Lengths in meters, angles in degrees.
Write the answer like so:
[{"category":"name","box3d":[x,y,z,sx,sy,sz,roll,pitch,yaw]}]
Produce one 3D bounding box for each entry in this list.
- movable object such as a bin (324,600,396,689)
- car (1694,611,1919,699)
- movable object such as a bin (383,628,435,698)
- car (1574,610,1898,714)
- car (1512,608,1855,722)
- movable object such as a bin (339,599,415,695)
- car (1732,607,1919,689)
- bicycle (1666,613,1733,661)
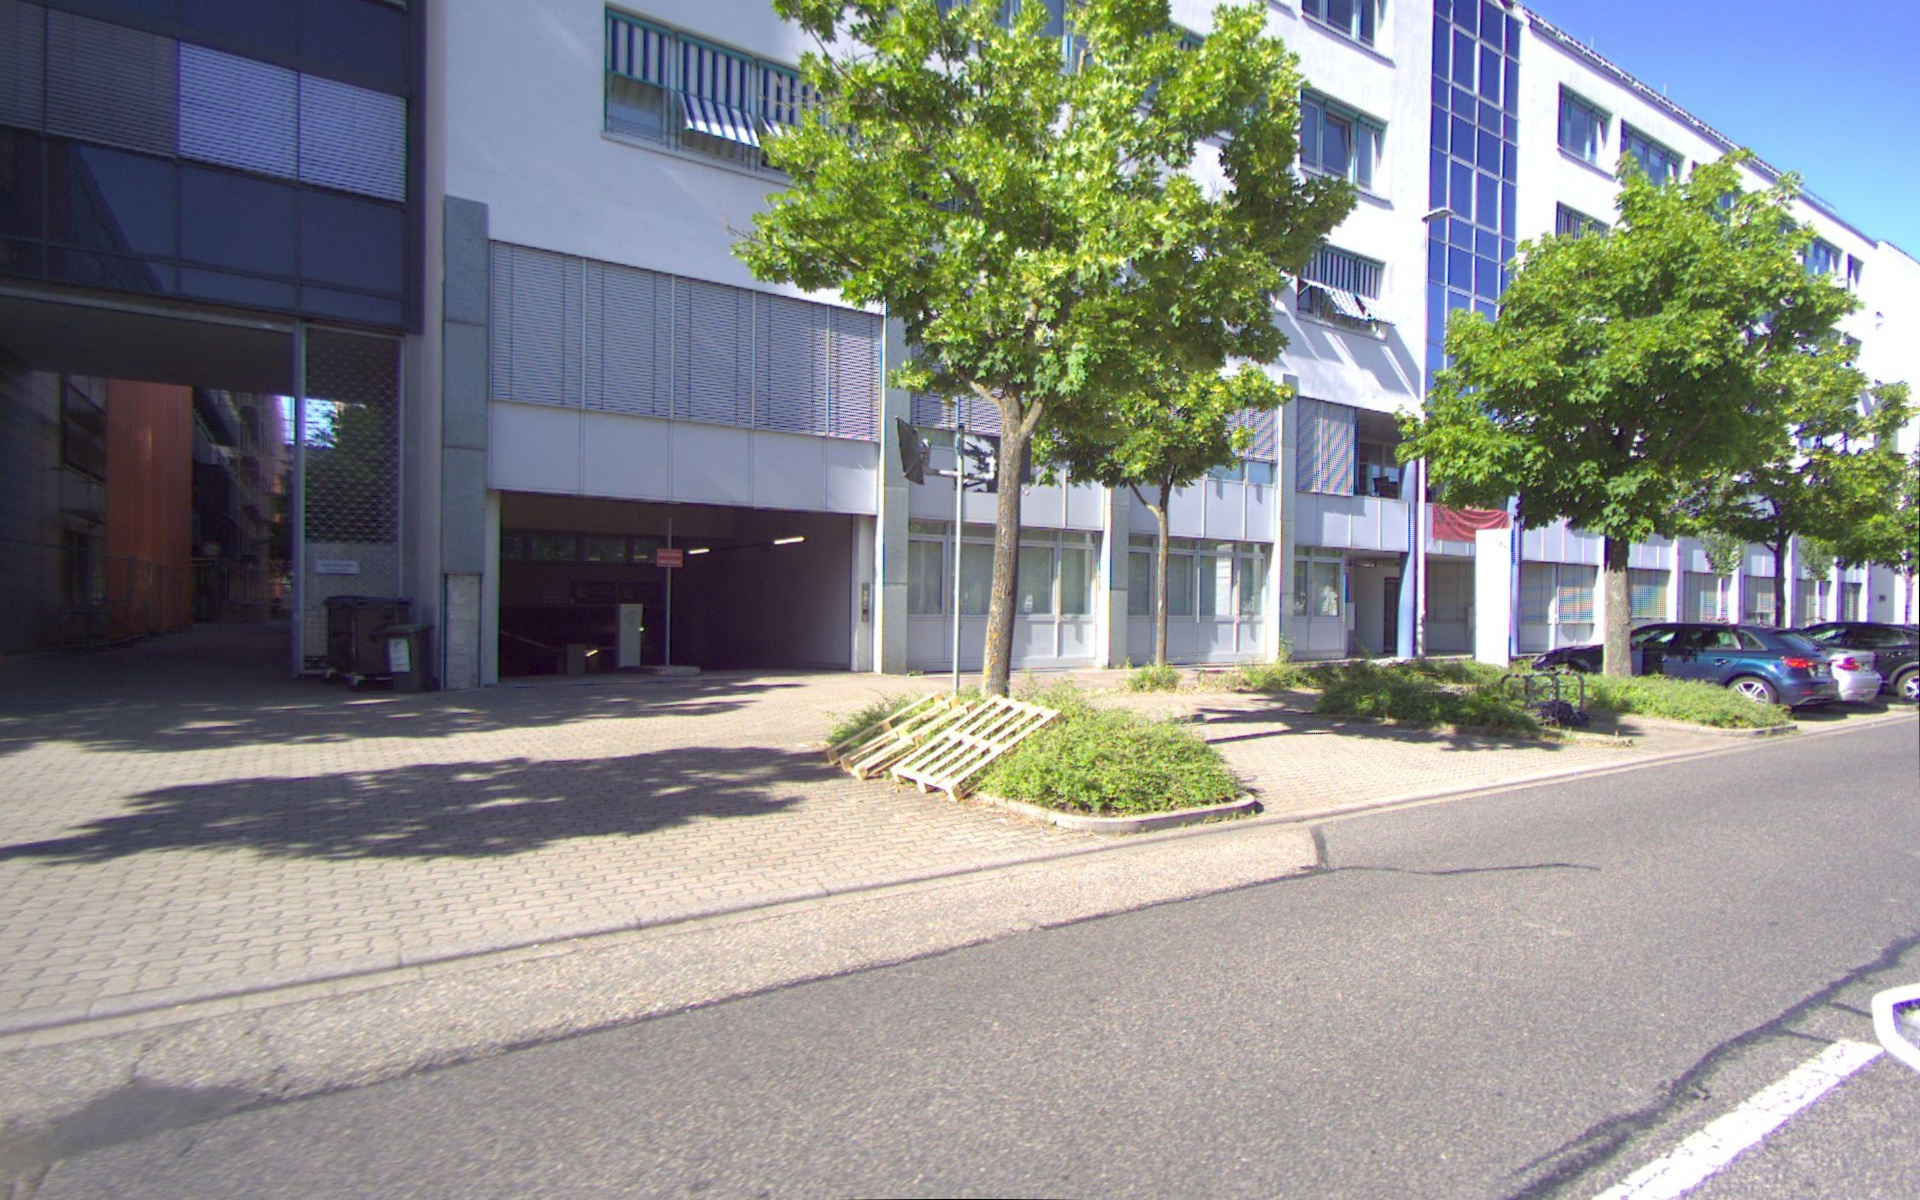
[{"category":"movable object such as a bin","box3d":[-9.261,0.672,15.546,0.903,1.297,1.230,1,-1,-30]},{"category":"car","box3d":[17.846,1.070,20.444,1.677,1.451,4.355,1,2,-35]},{"category":"movable object such as a bin","box3d":[-7.567,0.855,13.800,0.603,0.939,0.484,1,-1,-30]},{"category":"car","box3d":[13.992,1.022,18.406,1.675,1.451,4.359,1,2,-33]},{"category":"car","box3d":[11.999,0.970,16.960,1.677,1.451,4.353,1,2,-36]},{"category":"movable object such as a bin","box3d":[-8.369,0.657,14.451,0.903,1.297,1.230,1,-1,-30]},{"category":"car","box3d":[20.174,1.058,22.409,1.678,1.559,4.353,1,2,-37]},{"category":"bicycle","box3d":[21.706,1.087,29.476,2.204,1.365,0.706,1,-1,-28]}]
